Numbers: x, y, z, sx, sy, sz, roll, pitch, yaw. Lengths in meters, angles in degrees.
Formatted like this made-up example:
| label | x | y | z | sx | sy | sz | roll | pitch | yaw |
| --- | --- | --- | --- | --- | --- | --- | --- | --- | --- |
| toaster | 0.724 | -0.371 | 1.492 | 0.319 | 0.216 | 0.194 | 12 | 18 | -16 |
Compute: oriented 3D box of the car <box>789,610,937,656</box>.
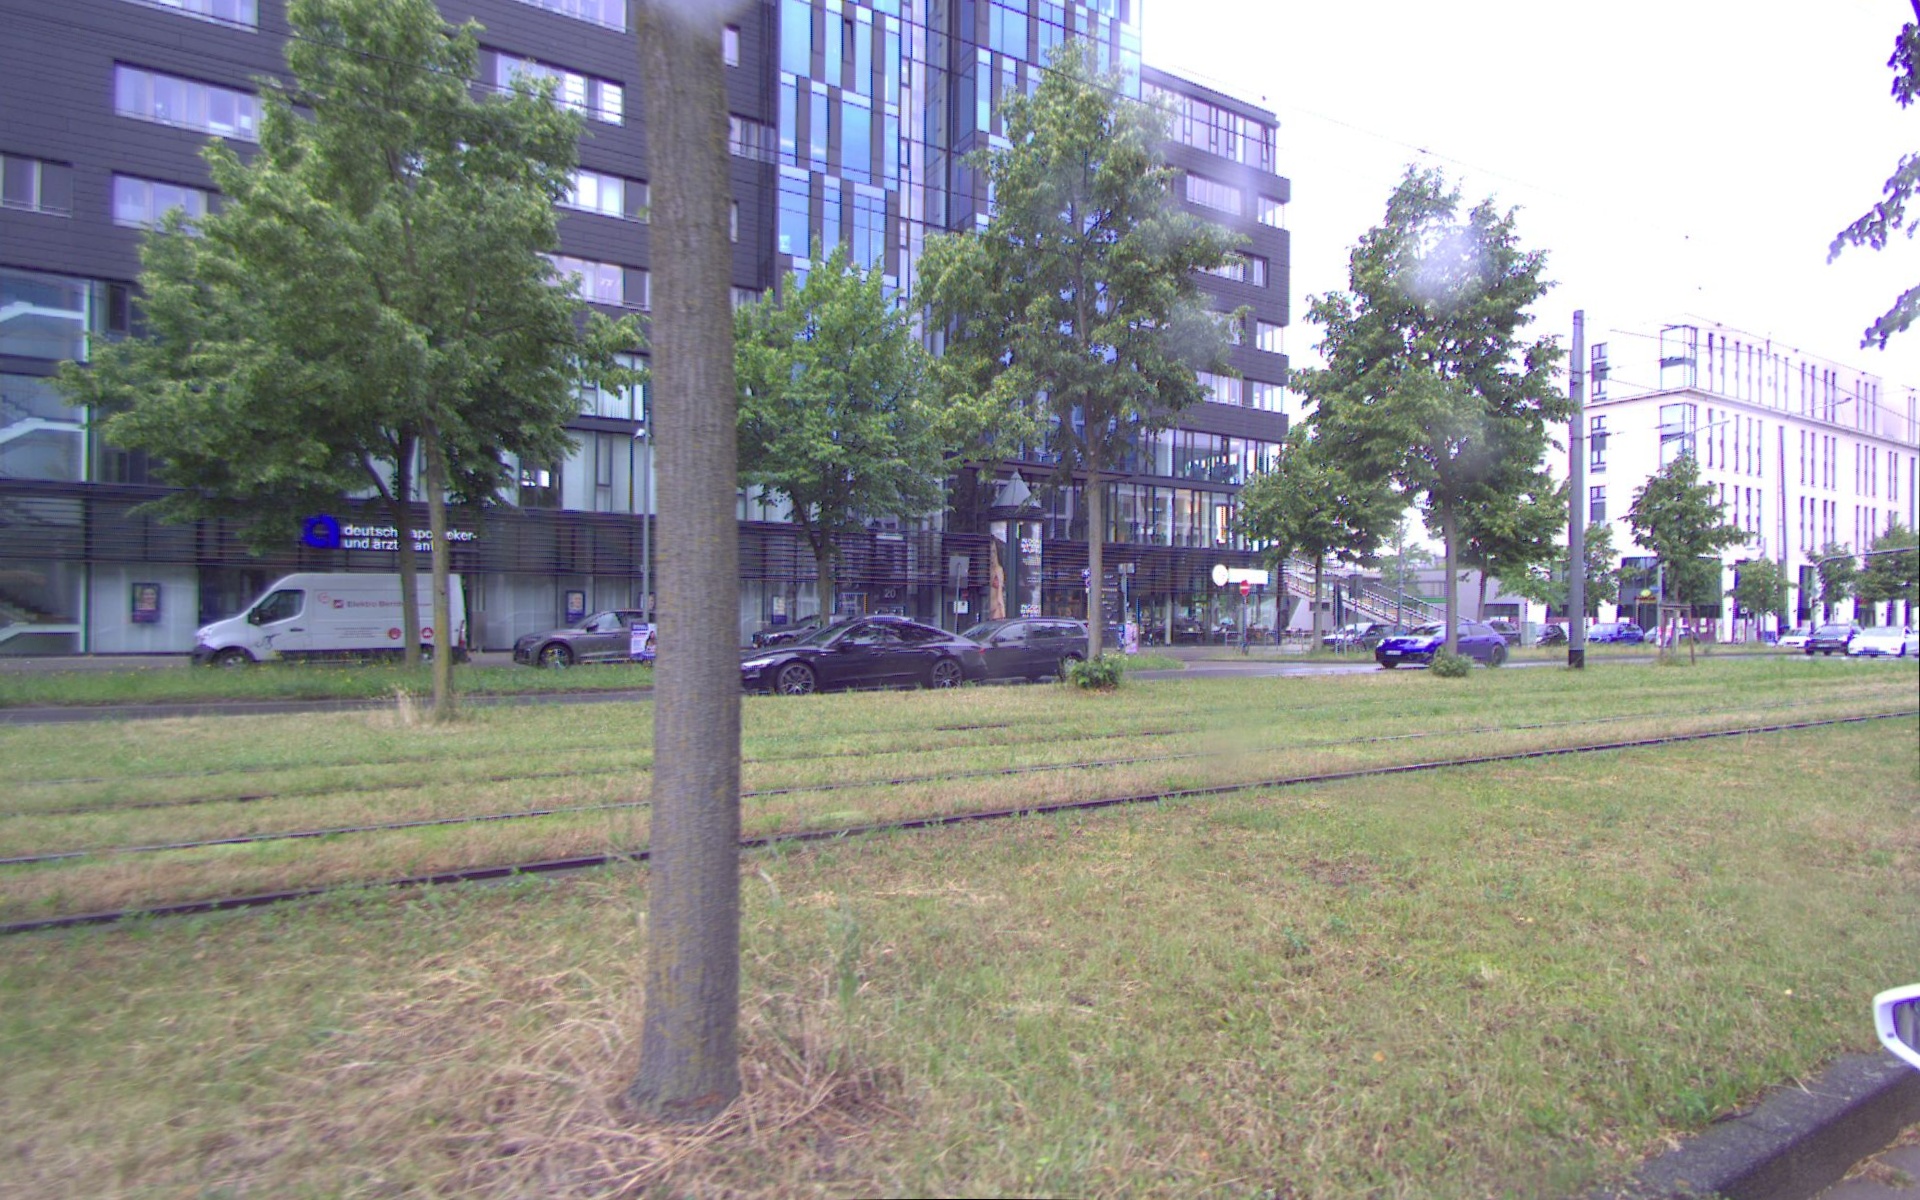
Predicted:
| label | x | y | z | sx | sy | sz | roll | pitch | yaw |
| --- | --- | --- | --- | --- | --- | --- | --- | --- | --- |
| car | -3.319 | 1.105 | 34.674 | 4.677 | 1.424 | 1.984 | 1 | 1 | -31 |

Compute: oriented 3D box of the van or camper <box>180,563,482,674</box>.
| label | x | y | z | sx | sy | sz | roll | pitch | yaw |
| --- | --- | --- | --- | --- | --- | --- | --- | --- | --- |
| van or camper | -14.636 | 0.439 | 23.815 | 5.782 | 2.346 | 2.421 | 1 | 0 | -31 |

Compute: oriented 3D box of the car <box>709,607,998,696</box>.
| label | x | y | z | sx | sy | sz | roll | pitch | yaw |
| --- | --- | --- | --- | --- | --- | --- | --- | --- | --- |
| car | -1.875 | 0.873 | 18.157 | 4.817 | 1.398 | 1.983 | 1 | 0 | -31 |

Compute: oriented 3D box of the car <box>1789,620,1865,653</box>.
| label | x | y | z | sx | sy | sz | roll | pitch | yaw |
| --- | --- | --- | --- | --- | --- | --- | --- | --- | --- |
| car | 45.902 | 1.897 | 53.160 | 3.956 | 1.639 | 1.983 | 1 | -1 | -32 |

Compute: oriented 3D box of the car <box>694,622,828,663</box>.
| label | x | y | z | sx | sy | sz | roll | pitch | yaw |
| --- | --- | --- | --- | --- | --- | --- | --- | --- | --- |
| car | -7.135 | 1.501 | 36.201 | 4.401 | 1.368 | 1.741 | 1 | 0 | -33 |

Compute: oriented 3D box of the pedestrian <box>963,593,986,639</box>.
| label | x | y | z | sx | sy | sz | roll | pitch | yaw |
| --- | --- | --- | --- | --- | --- | --- | --- | --- | --- |
| pedestrian | 0.642 | 0.716 | 44.902 | 0.783 | 2.040 | 0.699 | 1 | 0 | -30 |

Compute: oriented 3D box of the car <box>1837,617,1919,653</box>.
| label | x | y | z | sx | sy | sz | roll | pitch | yaw |
| --- | --- | --- | --- | --- | --- | --- | --- | --- | --- |
| car | 42.389 | 1.580 | 46.091 | 4.395 | 1.504 | 1.983 | 1 | 0 | -31 |

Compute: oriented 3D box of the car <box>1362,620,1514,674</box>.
| label | x | y | z | sx | sy | sz | roll | pitch | yaw |
| --- | --- | --- | --- | --- | --- | --- | --- | --- | --- |
| car | 15.028 | 1.430 | 31.510 | 4.955 | 1.542 | 1.983 | 1 | 0 | -32 |

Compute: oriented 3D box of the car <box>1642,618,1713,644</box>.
| label | x | y | z | sx | sy | sz | roll | pitch | yaw |
| --- | --- | --- | --- | --- | --- | --- | --- | --- | --- |
| car | 44.418 | 1.889 | 62.180 | 4.395 | 1.504 | 1.983 | 1 | 0 | -31 |

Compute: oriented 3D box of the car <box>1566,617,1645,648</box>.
| label | x | y | z | sx | sy | sz | roll | pitch | yaw |
| --- | --- | --- | --- | --- | --- | --- | --- | --- | --- |
| car | 33.926 | 1.692 | 52.785 | 4.400 | 1.504 | 1.981 | 1 | 0 | -35 |

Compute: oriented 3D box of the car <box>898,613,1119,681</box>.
| label | x | y | z | sx | sy | sz | roll | pitch | yaw |
| --- | --- | --- | --- | --- | --- | --- | --- | --- | --- |
| car | 1.165 | 1.020 | 23.108 | 4.816 | 1.398 | 1.983 | 1 | 0 | -31 |

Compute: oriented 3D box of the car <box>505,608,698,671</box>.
| label | x | y | z | sx | sy | sz | roll | pitch | yaw |
| --- | --- | --- | --- | --- | --- | --- | --- | --- | --- |
| car | -9.541 | 1.008 | 26.794 | 4.555 | 1.542 | 1.983 | 1 | 0 | -32 |

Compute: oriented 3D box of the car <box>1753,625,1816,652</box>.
| label | x | y | z | sx | sy | sz | roll | pitch | yaw |
| --- | --- | --- | --- | --- | --- | --- | --- | --- | --- |
| car | 52.204 | 2.426 | 63.588 | 3.956 | 1.639 | 1.983 | 1 | -1 | -32 |

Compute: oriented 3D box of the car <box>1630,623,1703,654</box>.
| label | x | y | z | sx | sy | sz | roll | pitch | yaw |
| --- | --- | --- | --- | --- | --- | --- | --- | --- | --- |
| car | 39.772 | 2.120 | 56.513 | 4.400 | 1.620 | 1.981 | 1 | 0 | -35 |
